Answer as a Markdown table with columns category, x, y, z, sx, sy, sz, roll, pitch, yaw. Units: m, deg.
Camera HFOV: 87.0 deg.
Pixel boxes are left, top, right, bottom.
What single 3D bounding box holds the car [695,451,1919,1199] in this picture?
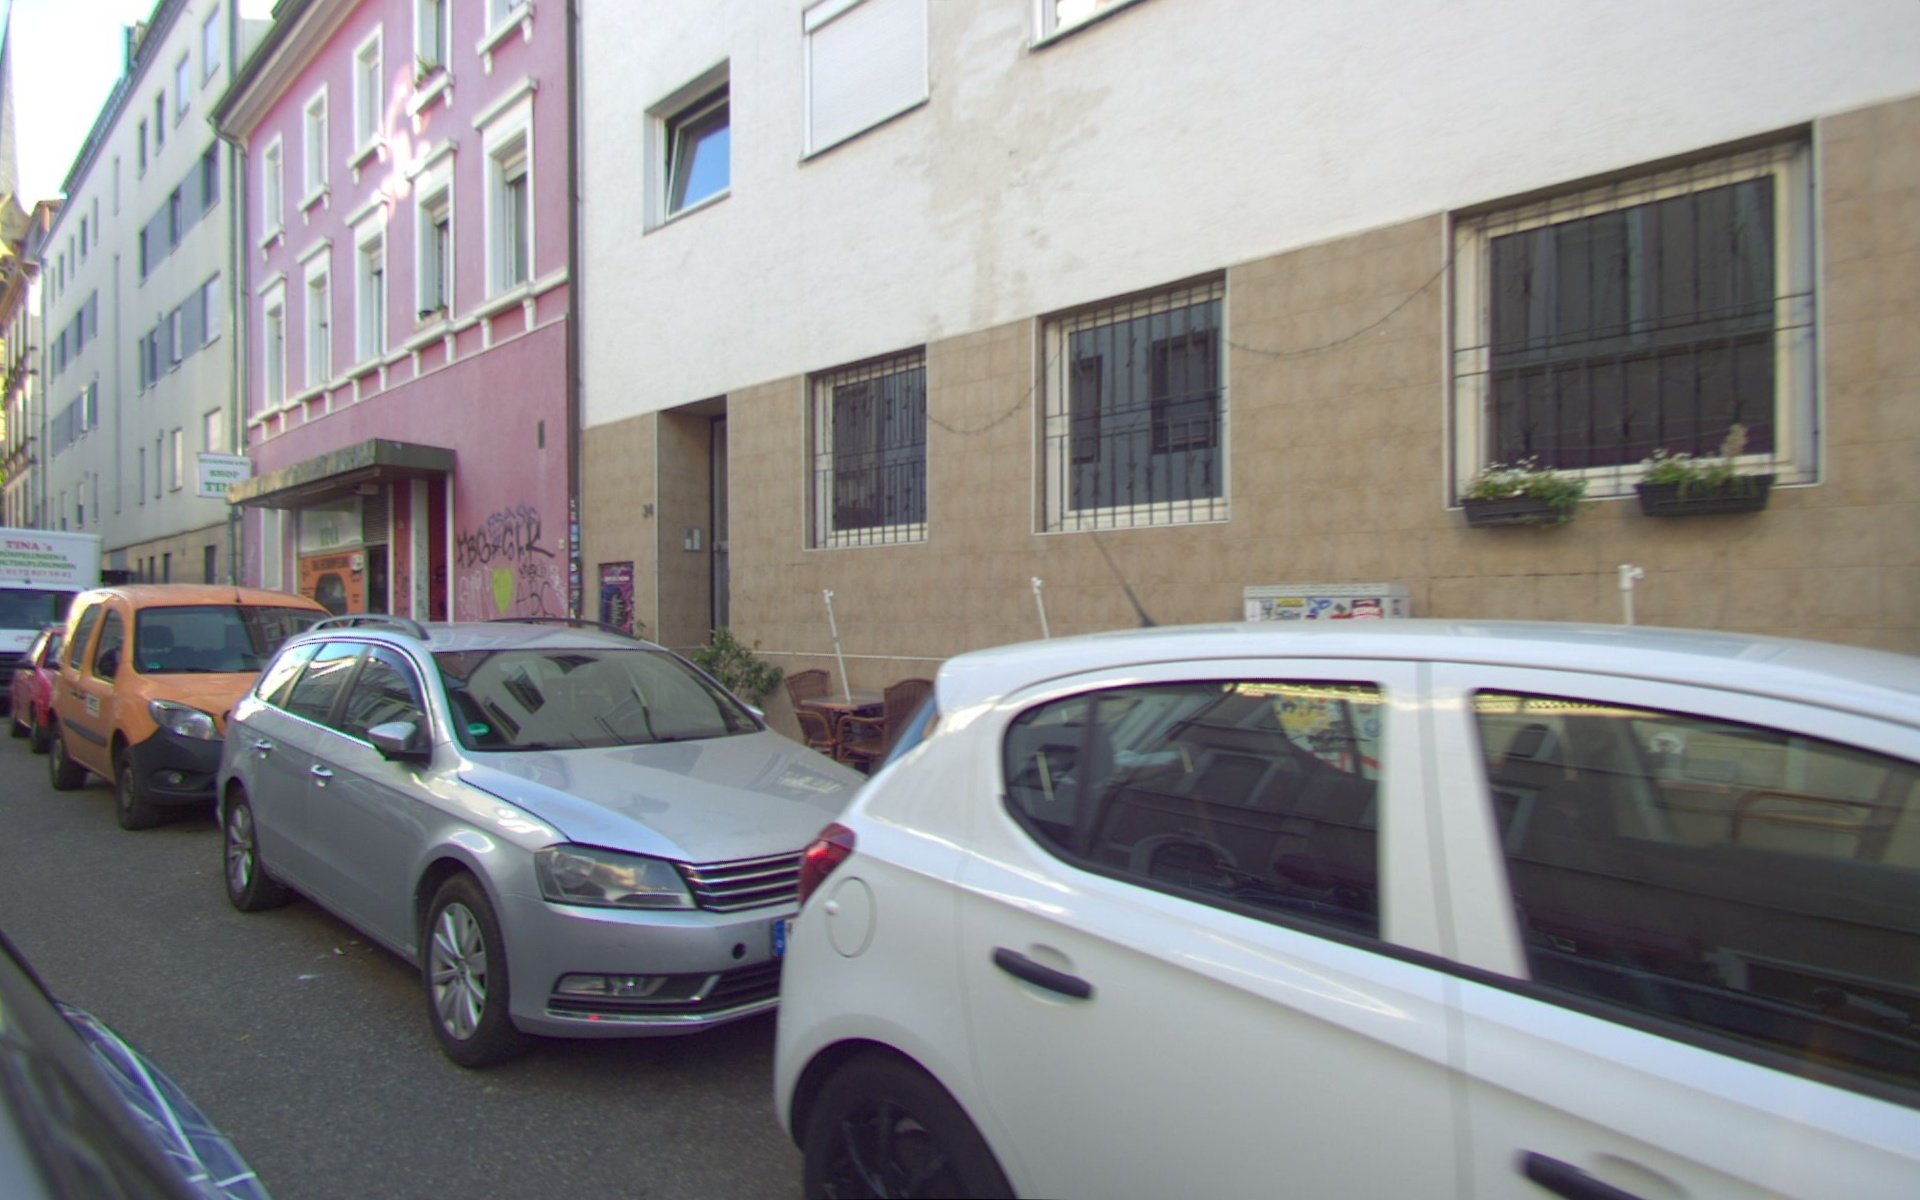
| category | x | y | z | sx | sy | sz | roll | pitch | yaw |
| --- | --- | --- | --- | --- | --- | --- | --- | --- | --- |
| car | 1.440 | 0.678 | 1.428 | 3.816 | 1.566 | 1.659 | -1 | -2 | 41 |

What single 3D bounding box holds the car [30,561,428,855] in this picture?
| category | x | y | z | sx | sy | sz | roll | pitch | yaw |
| --- | --- | --- | --- | --- | --- | --- | --- | --- | --- |
| car | -6.266 | 0.720 | 8.482 | 4.242 | 1.859 | 1.783 | -1 | -2 | 41 |

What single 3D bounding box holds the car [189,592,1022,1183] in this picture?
| category | x | y | z | sx | sy | sz | roll | pitch | yaw |
| --- | --- | --- | --- | --- | --- | --- | --- | --- | --- |
| car | -2.007 | 0.784 | 4.735 | 4.529 | 1.508 | 1.656 | -1 | -2 | 41 |

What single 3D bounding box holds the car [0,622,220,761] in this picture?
| category | x | y | z | sx | sy | sz | roll | pitch | yaw |
| --- | --- | --- | --- | --- | --- | --- | --- | --- | --- |
| car | -10.793 | 1.018 | 12.704 | 3.658 | 1.477 | 1.665 | -1 | -2 | 41 |

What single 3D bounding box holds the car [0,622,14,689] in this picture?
| category | x | y | z | sx | sy | sz | roll | pitch | yaw |
| --- | --- | --- | --- | --- | --- | --- | --- | --- | --- |
| car | -24.748 | 1.314 | 24.918 | 3.912 | 1.600 | 1.665 | -1 | -4 | 41 |

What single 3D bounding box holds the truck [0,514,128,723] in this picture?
| category | x | y | z | sx | sy | sz | roll | pitch | yaw |
| --- | --- | --- | --- | --- | --- | --- | --- | --- | --- |
| truck | -17.023 | 0.329 | 18.156 | 7.044 | 3.207 | 2.266 | -1 | -2 | 43 |
